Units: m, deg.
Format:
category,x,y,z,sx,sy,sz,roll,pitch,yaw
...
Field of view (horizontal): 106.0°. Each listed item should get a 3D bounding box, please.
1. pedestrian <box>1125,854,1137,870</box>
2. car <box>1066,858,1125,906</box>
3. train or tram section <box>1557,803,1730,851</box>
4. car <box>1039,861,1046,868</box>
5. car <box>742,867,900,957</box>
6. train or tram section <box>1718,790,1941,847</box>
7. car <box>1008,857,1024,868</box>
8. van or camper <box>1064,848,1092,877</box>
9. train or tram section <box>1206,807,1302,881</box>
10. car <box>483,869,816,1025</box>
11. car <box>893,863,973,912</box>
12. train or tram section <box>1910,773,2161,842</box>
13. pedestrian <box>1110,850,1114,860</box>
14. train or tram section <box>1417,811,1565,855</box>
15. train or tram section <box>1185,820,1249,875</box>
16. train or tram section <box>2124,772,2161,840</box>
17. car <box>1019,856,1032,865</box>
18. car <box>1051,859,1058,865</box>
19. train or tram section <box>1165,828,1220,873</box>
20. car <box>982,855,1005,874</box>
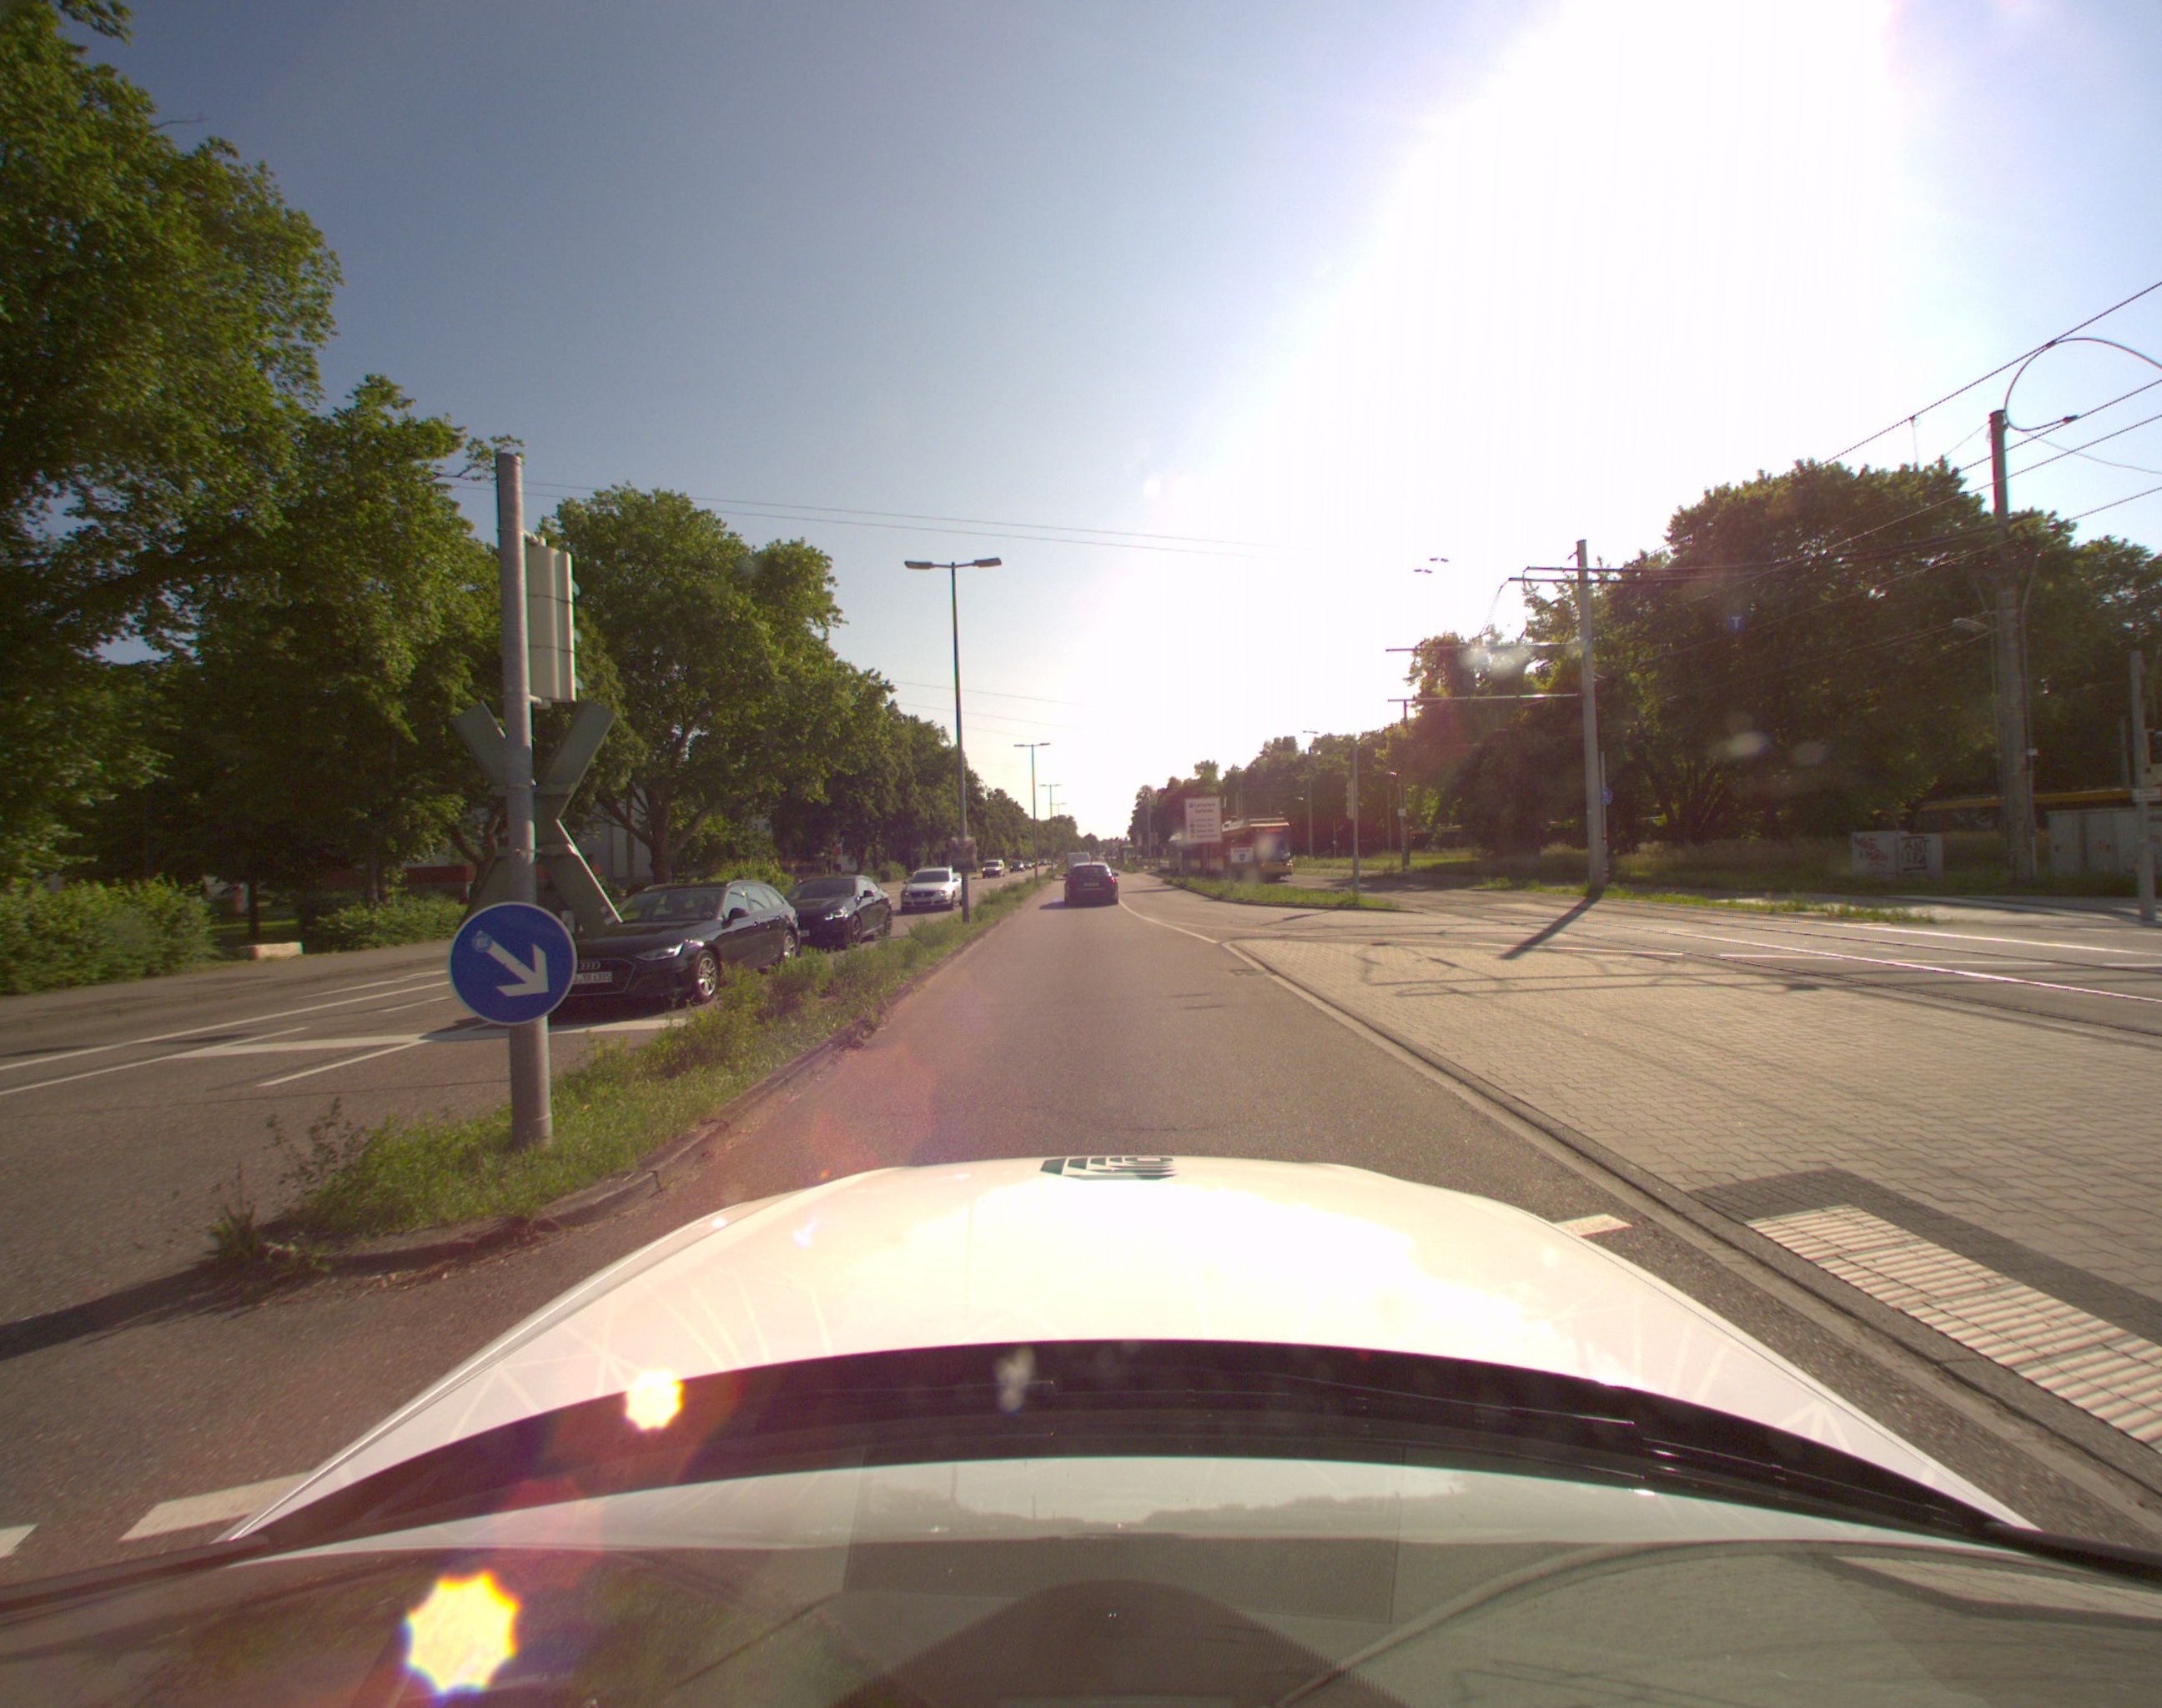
category,x,y,z,sx,sy,sz,roll,pitch,yaw
pedestrian,5.096,0.825,83.170,0.988,1.634,0.726,-2,0,33
car,0.518,0.933,29.192,1.896,1.506,4.065,-2,0,1
train or tram section,48.809,-2.267,71.192,12.071,3.579,3.074,-2,0,35
car,-9.015,2.492,192.109,1.529,1.486,3.999,-2,0,-1
car,-5.169,1.085,16.869,1.823,1.435,4.379,-3,0,-1
train or tram section,56.662,-2.536,62.244,3.067,3.579,12.099,-2,0,-35
car,-8.746,1.090,109.733,1.783,1.415,4.385,-2,0,-1
van or camper,-0.206,0.658,62.866,1.987,2.096,4.598,-2,0,0
train or tram section,9.646,-0.446,47.189,2.787,3.618,12.953,-1,-1,0
car,-5.296,1.020,10.908,1.823,1.431,4.731,-3,0,0
car,-5.155,1.124,28.990,1.842,1.477,4.647,-2,0,1
train or tram section,59.624,-2.680,50.898,3.034,3.579,12.228,-2,0,0
pedestrian,6.018,0.138,159.279,0.696,2.013,0.702,-2,0,-1
train or tram section,38.824,-1.930,77.523,12.280,3.579,3.073,-2,0,30
train or tram section,9.695,-0.359,59.299,2.741,3.554,11.255,-1,-1,0
train or tram section,56.712,-2.495,39.247,3.015,3.579,12.305,-2,0,28
car,-8.803,1.094,130.061,1.783,1.328,4.735,-2,0,-1
car,-7.698,2.273,234.549,1.844,1.552,3.999,-2,0,-1
train or tram section,9.695,-0.218,72.416,2.676,3.481,14.964,-1,-1,0
car,-8.746,1.047,81.815,1.783,1.772,4.569,-2,0,0
